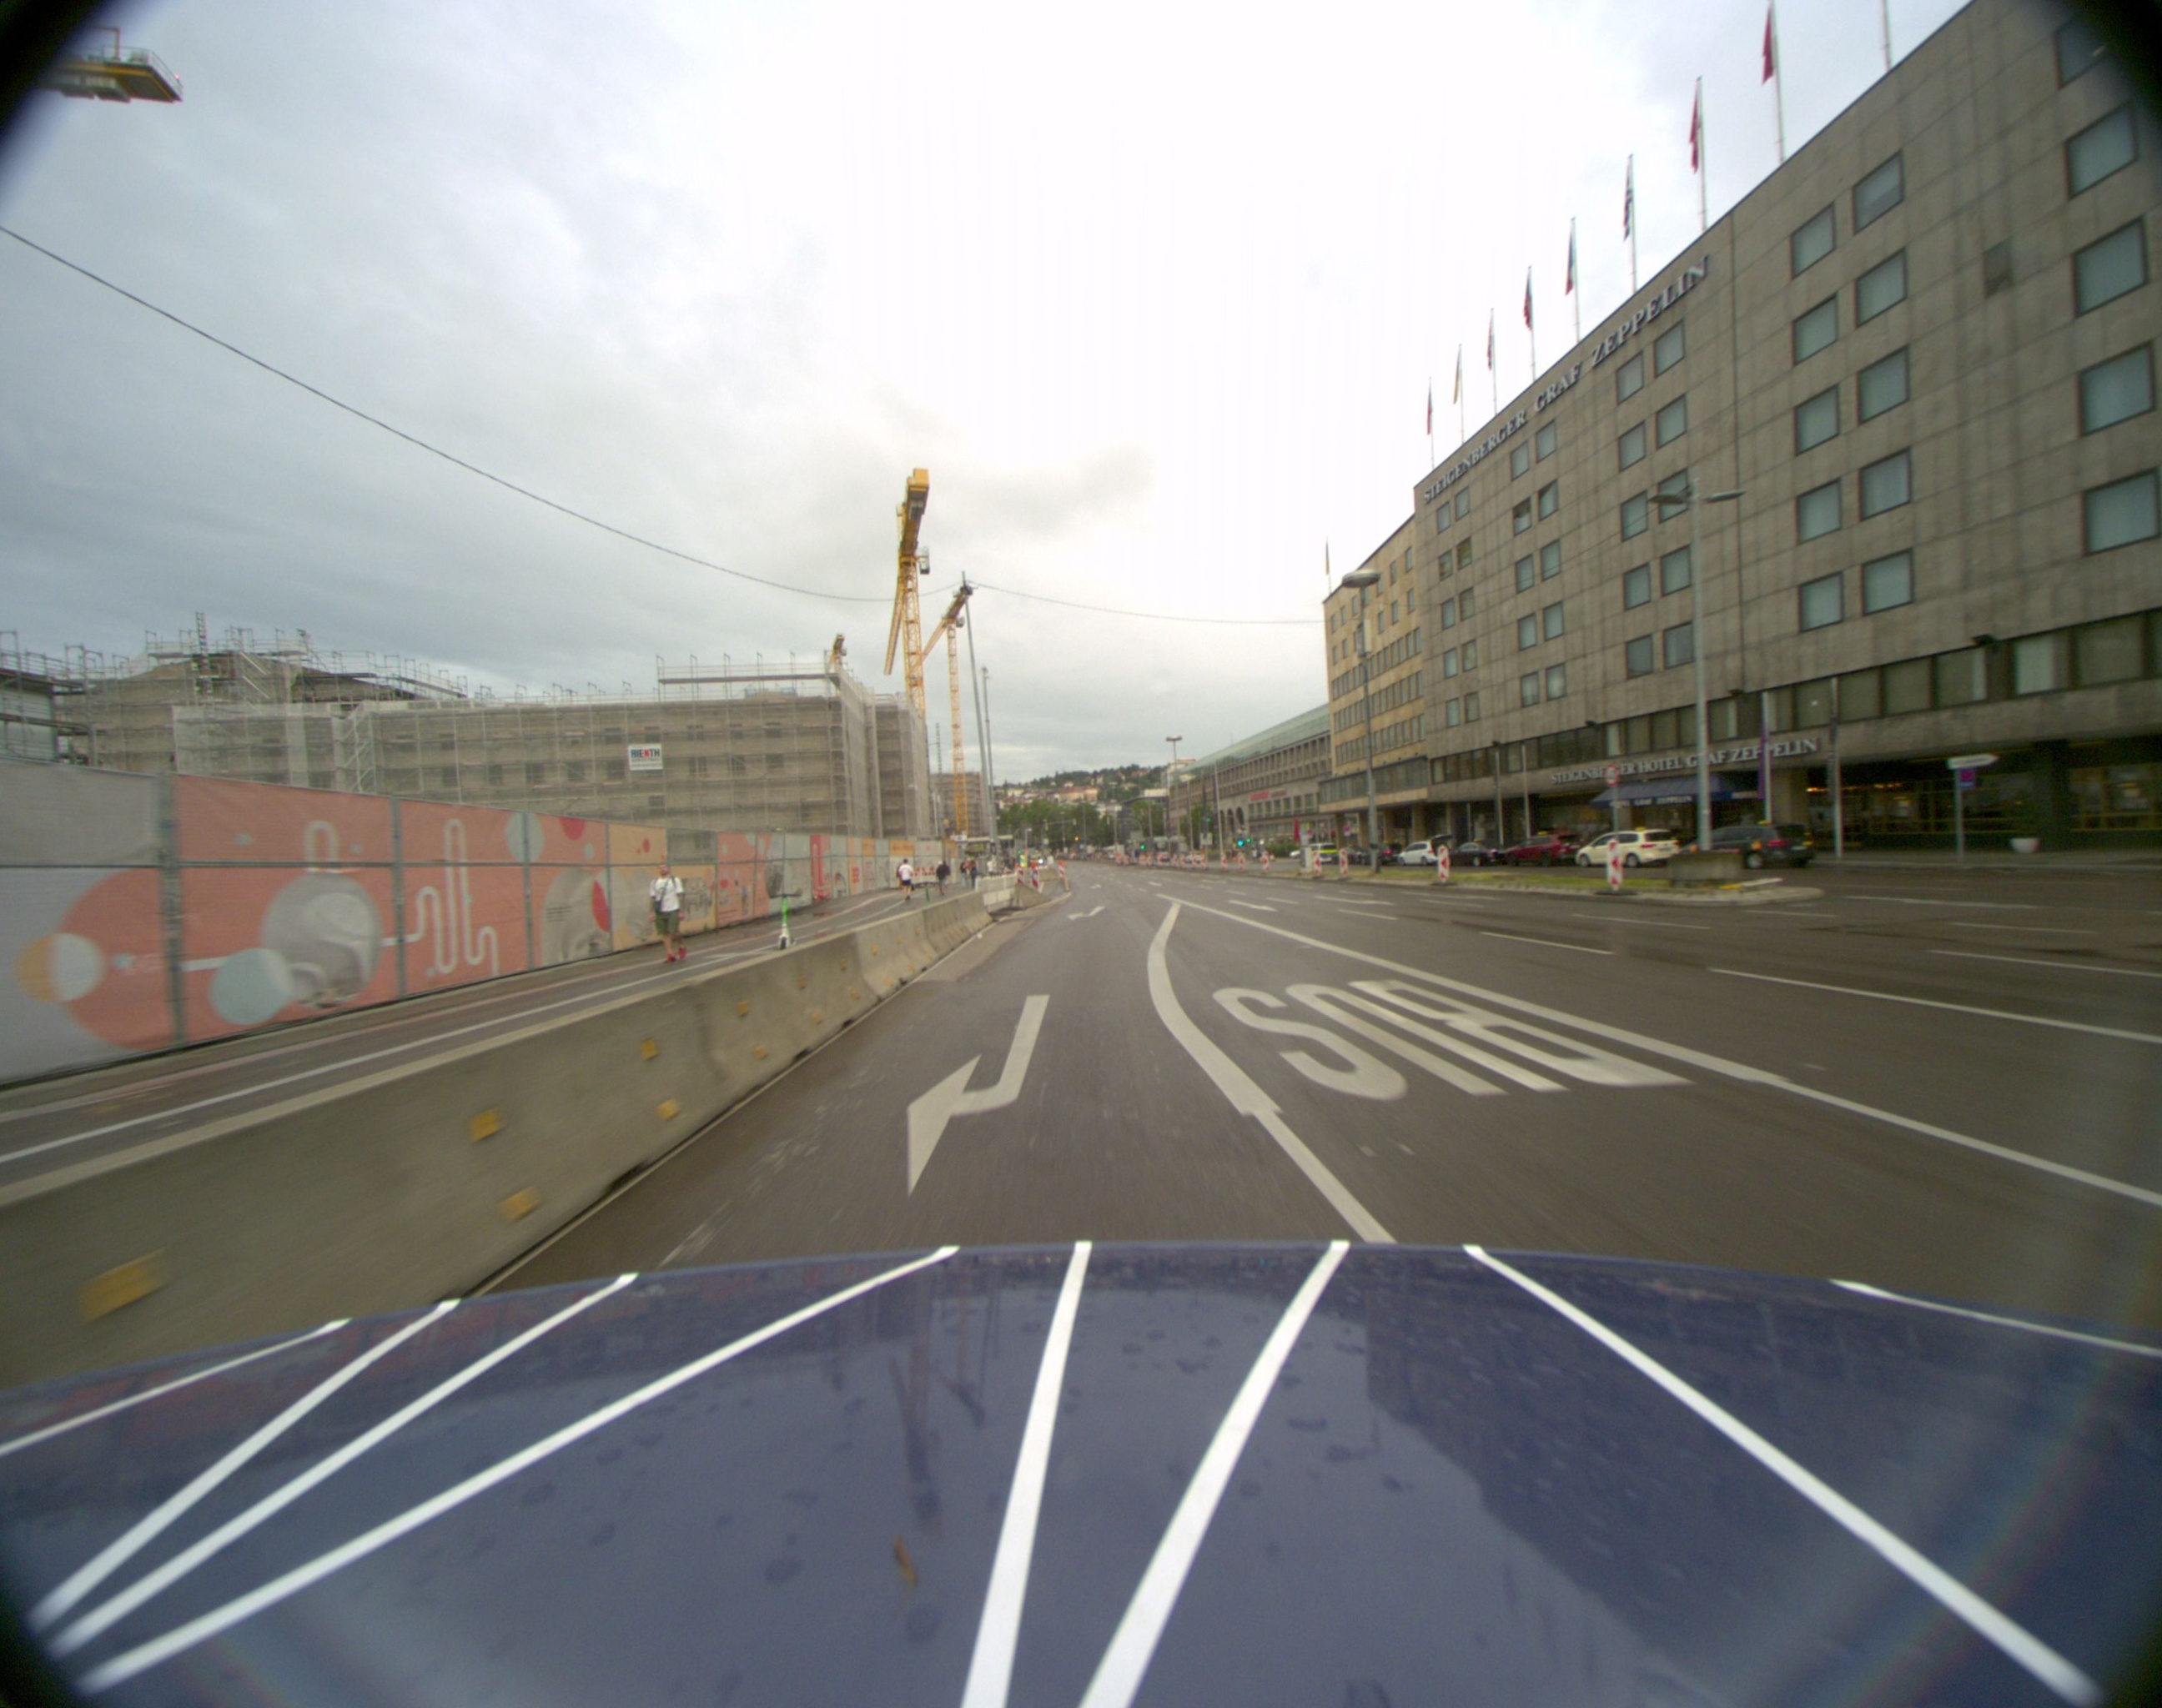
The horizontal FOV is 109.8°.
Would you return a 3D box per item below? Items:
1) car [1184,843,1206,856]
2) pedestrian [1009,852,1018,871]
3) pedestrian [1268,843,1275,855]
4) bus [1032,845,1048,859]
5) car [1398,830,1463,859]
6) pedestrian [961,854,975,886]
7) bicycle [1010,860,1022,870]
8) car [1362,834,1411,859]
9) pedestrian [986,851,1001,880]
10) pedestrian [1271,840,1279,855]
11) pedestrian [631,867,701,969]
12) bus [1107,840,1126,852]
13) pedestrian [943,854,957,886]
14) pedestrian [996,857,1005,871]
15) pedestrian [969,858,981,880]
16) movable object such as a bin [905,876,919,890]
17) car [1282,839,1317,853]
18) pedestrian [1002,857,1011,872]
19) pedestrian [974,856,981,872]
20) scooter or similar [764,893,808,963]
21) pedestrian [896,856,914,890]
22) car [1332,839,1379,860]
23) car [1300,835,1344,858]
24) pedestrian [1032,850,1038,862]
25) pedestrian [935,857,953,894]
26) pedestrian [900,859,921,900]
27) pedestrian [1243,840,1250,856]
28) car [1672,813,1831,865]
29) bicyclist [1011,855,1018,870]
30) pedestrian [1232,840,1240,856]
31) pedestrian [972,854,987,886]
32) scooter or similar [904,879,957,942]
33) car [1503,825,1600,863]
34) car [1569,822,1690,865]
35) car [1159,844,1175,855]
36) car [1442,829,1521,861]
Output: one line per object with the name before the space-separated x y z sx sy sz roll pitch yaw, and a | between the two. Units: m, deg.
car | 15.239 -0.565 101.881 1.829 1.659 4.497 -3 1 -5
pedestrian | -7.536 0.812 84.817 0.788 2.000 0.865 -3 1 4
pedestrian | 22.286 -0.598 88.971 0.564 1.284 0.752 -3 1 -7
bus | -9.650 -0.465 177.894 3.001 3.120 7.759 -3 1 -7
car | 23.272 -0.630 50.794 1.759 1.748 4.708 -3 1 -6
pedestrian | -6.917 0.960 46.483 0.685 1.878 0.693 -3 1 0
bicycle | -7.813 1.342 91.531 0.755 1.127 1.994 0 1 14
car | 22.627 -0.529 56.497 1.759 1.671 4.227 -3 0 -2
pedestrian | -6.155 0.785 53.460 0.805 2.005 0.972 -3 1 0
pedestrian | 22.352 -0.748 87.663 0.564 1.659 0.752 -3 1 -7
pedestrian | -8.019 1.206 14.719 0.705 1.855 0.990 -3 1 -1
bus | 9.106 -1.961 194.642 2.911 2.923 9.815 -3 1 -8
pedestrian | -7.969 0.972 46.143 0.685 1.878 0.693 -3 1 -3
pedestrian | -10.270 1.228 97.076 0.740 1.717 0.716 5 1 40
pedestrian | -9.140 1.279 65.698 0.850 1.884 0.662 -3 1 0
movable object such as a bin | -9.681 1.658 43.519 0.598 0.730 0.777 -3 3 -1
car | 29.241 -1.125 101.821 4.091 1.630 1.806 -3 1 0
pedestrian | -8.690 1.231 88.648 0.815 1.745 0.881 -3 1 0
pedestrian | -13.556 1.315 99.847 0.629 2.002 0.577 -4 1 -37
scooter or similar | -5.656 1.389 14.635 0.469 1.176 1.414 -3 1 -11
pedestrian | -9.970 1.059 42.956 0.769 1.884 0.654 -3 1 0
car | 22.376 -0.351 62.213 1.759 1.612 4.562 -3 1 -6
car | 21.941 -0.611 69.489 1.906 1.917 5.073 -2 0 -6
pedestrian | -7.982 0.342 131.950 0.735 2.002 0.645 -3 1 -11
pedestrian | -6.571 1.027 36.534 0.644 1.730 0.837 -3 1 -2
pedestrian | -7.448 1.104 33.210 0.685 1.730 0.907 -3 1 -3
pedestrian | 20.348 -0.775 93.624 0.591 1.914 0.751 -3 1 -6
car | 25.107 -0.534 28.708 1.821 1.718 4.512 -3 1 -3
bicyclist | -7.982 1.036 90.980 0.696 1.695 0.434 -3 1 13
pedestrian | 19.504 -0.783 95.358 0.705 2.002 0.807 -3 1 -5
pedestrian | -6.202 0.965 46.502 0.685 1.878 0.693 -3 1 0
scooter or similar | -3.244 1.196 16.468 0.676 1.207 1.572 -3 1 4
car | 24.270 -0.515 39.399 1.907 1.758 4.645 -3 1 -3
car | 24.515 -0.454 34.173 1.821 1.688 4.575 -3 1 -5
car | 13.866 -0.727 122.402 1.779 1.659 4.498 -2 1 -4
car | 23.609 -0.506 45.003 1.908 1.650 4.614 -3 0 -5
